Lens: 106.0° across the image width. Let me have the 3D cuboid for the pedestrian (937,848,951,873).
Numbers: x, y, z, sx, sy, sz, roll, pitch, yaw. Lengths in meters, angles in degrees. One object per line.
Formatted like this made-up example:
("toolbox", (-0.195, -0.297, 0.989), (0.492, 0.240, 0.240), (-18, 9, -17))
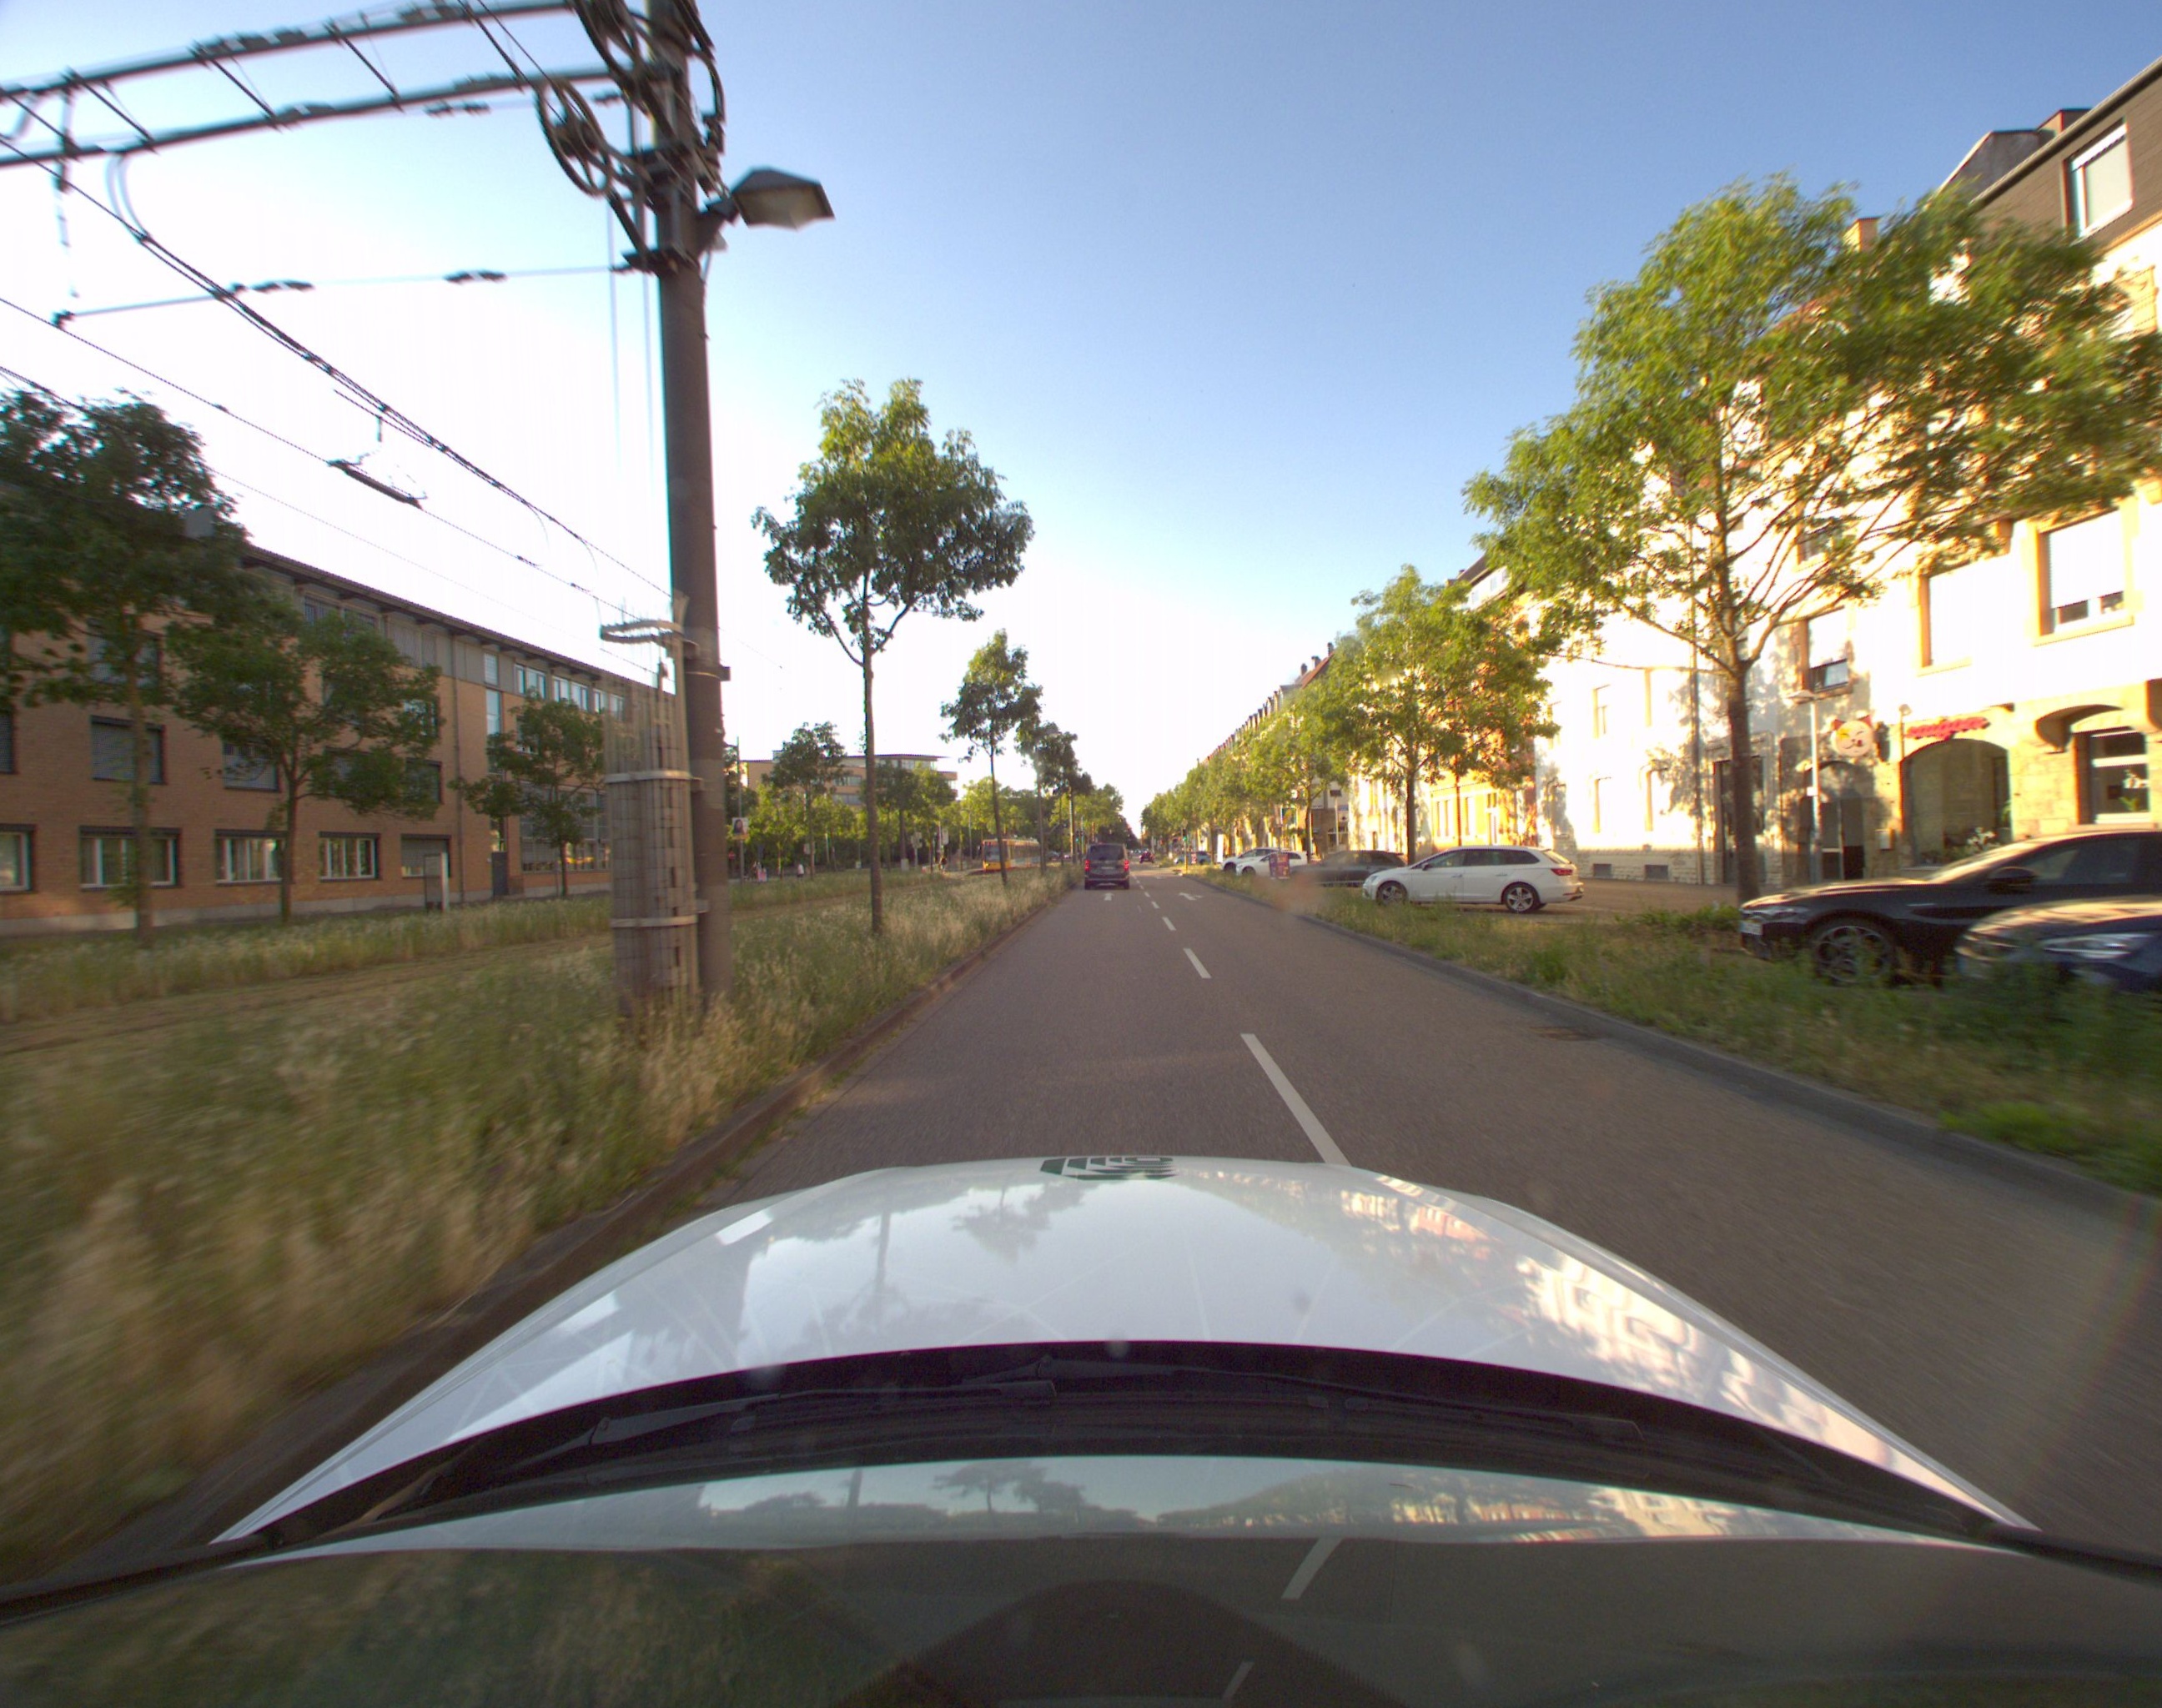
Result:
("pedestrian", (-11.364, 0.512, 67.434), (0.930, 2.013, 0.958), (-2, 0, 2))

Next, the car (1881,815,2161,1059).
("car", (7.861, 0.467, 4.917), (4.000, 1.437, 1.738), (-1, -1, 31))

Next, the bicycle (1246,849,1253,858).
("bicycle", (21.369, -0.077, 103.578), (0.481, 1.165, 1.748), (-7, 0, 3))

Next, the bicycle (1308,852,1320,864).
("bicycle", (18.603, 0.328, 65.015), (0.458, 0.872, 1.885), (-7, -1, 3))

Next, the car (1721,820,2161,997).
("car", (8.769, 0.420, 7.595), (4.379, 1.416, 1.897), (-1, 1, 39))

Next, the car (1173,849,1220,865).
("car", (11.574, 0.298, 81.711), (4.232, 1.522, 1.859), (-1, 0, 35))

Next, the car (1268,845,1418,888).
("car", (9.027, 0.443, 28.194), (4.523, 1.348, 1.908), (-2, 0, 35))

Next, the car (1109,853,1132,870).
("car", (3.748, 0.711, 77.556), (1.987, 1.510, 4.000), (-1, 0, 0))

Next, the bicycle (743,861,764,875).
("bicycle", (-26.024, 1.131, 64.835), (0.707, 1.052, 2.095), (-2, 0, 3))

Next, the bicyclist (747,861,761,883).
("bicyclist", (-26.012, 1.423, 64.811), (0.692, 1.674, 0.826), (-2, 0, 2))

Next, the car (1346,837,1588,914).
("car", (8.569, 0.468, 18.296), (4.586, 1.510, 1.859), (-2, 0, 38))

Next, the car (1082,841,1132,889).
("car", (1.166, 0.428, 34.691), (1.985, 1.900, 4.303), (0, 0, 3))

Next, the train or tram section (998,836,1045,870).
("train or tram section", (-6.465, -0.114, 90.504), (3.417, 3.339, 13.868), (-2, 0, 3))

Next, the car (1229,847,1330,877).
("car", (9.996, 0.412, 41.074), (4.496, 1.400, 2.044), (-2, -1, 33))

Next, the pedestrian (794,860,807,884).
("pedestrian", (-20.298, 1.268, 58.928), (0.687, 1.697, 0.827), (-2, 0, -5))

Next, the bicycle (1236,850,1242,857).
("bicycle", (21.741, -0.096, 112.100), (0.481, 1.005, 1.748), (-2, 0, 3))

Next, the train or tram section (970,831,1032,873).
("train or tram section", (-7.187, -0.161, 75.986), (3.417, 3.430, 15.038), (-2, 0, 3))

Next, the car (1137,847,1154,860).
("car", (8.131, -0.095, 103.041), (1.985, 1.510, 4.003), (-1, 0, 2))

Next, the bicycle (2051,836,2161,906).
("bicycle", (17.238, 0.260, 13.113), (0.585, 1.078, 2.229), (-4, 0, 2))

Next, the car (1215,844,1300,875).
("car", (10.161, 0.308, 47.098), (4.375, 1.691, 1.928), (-1, 0, 38))
